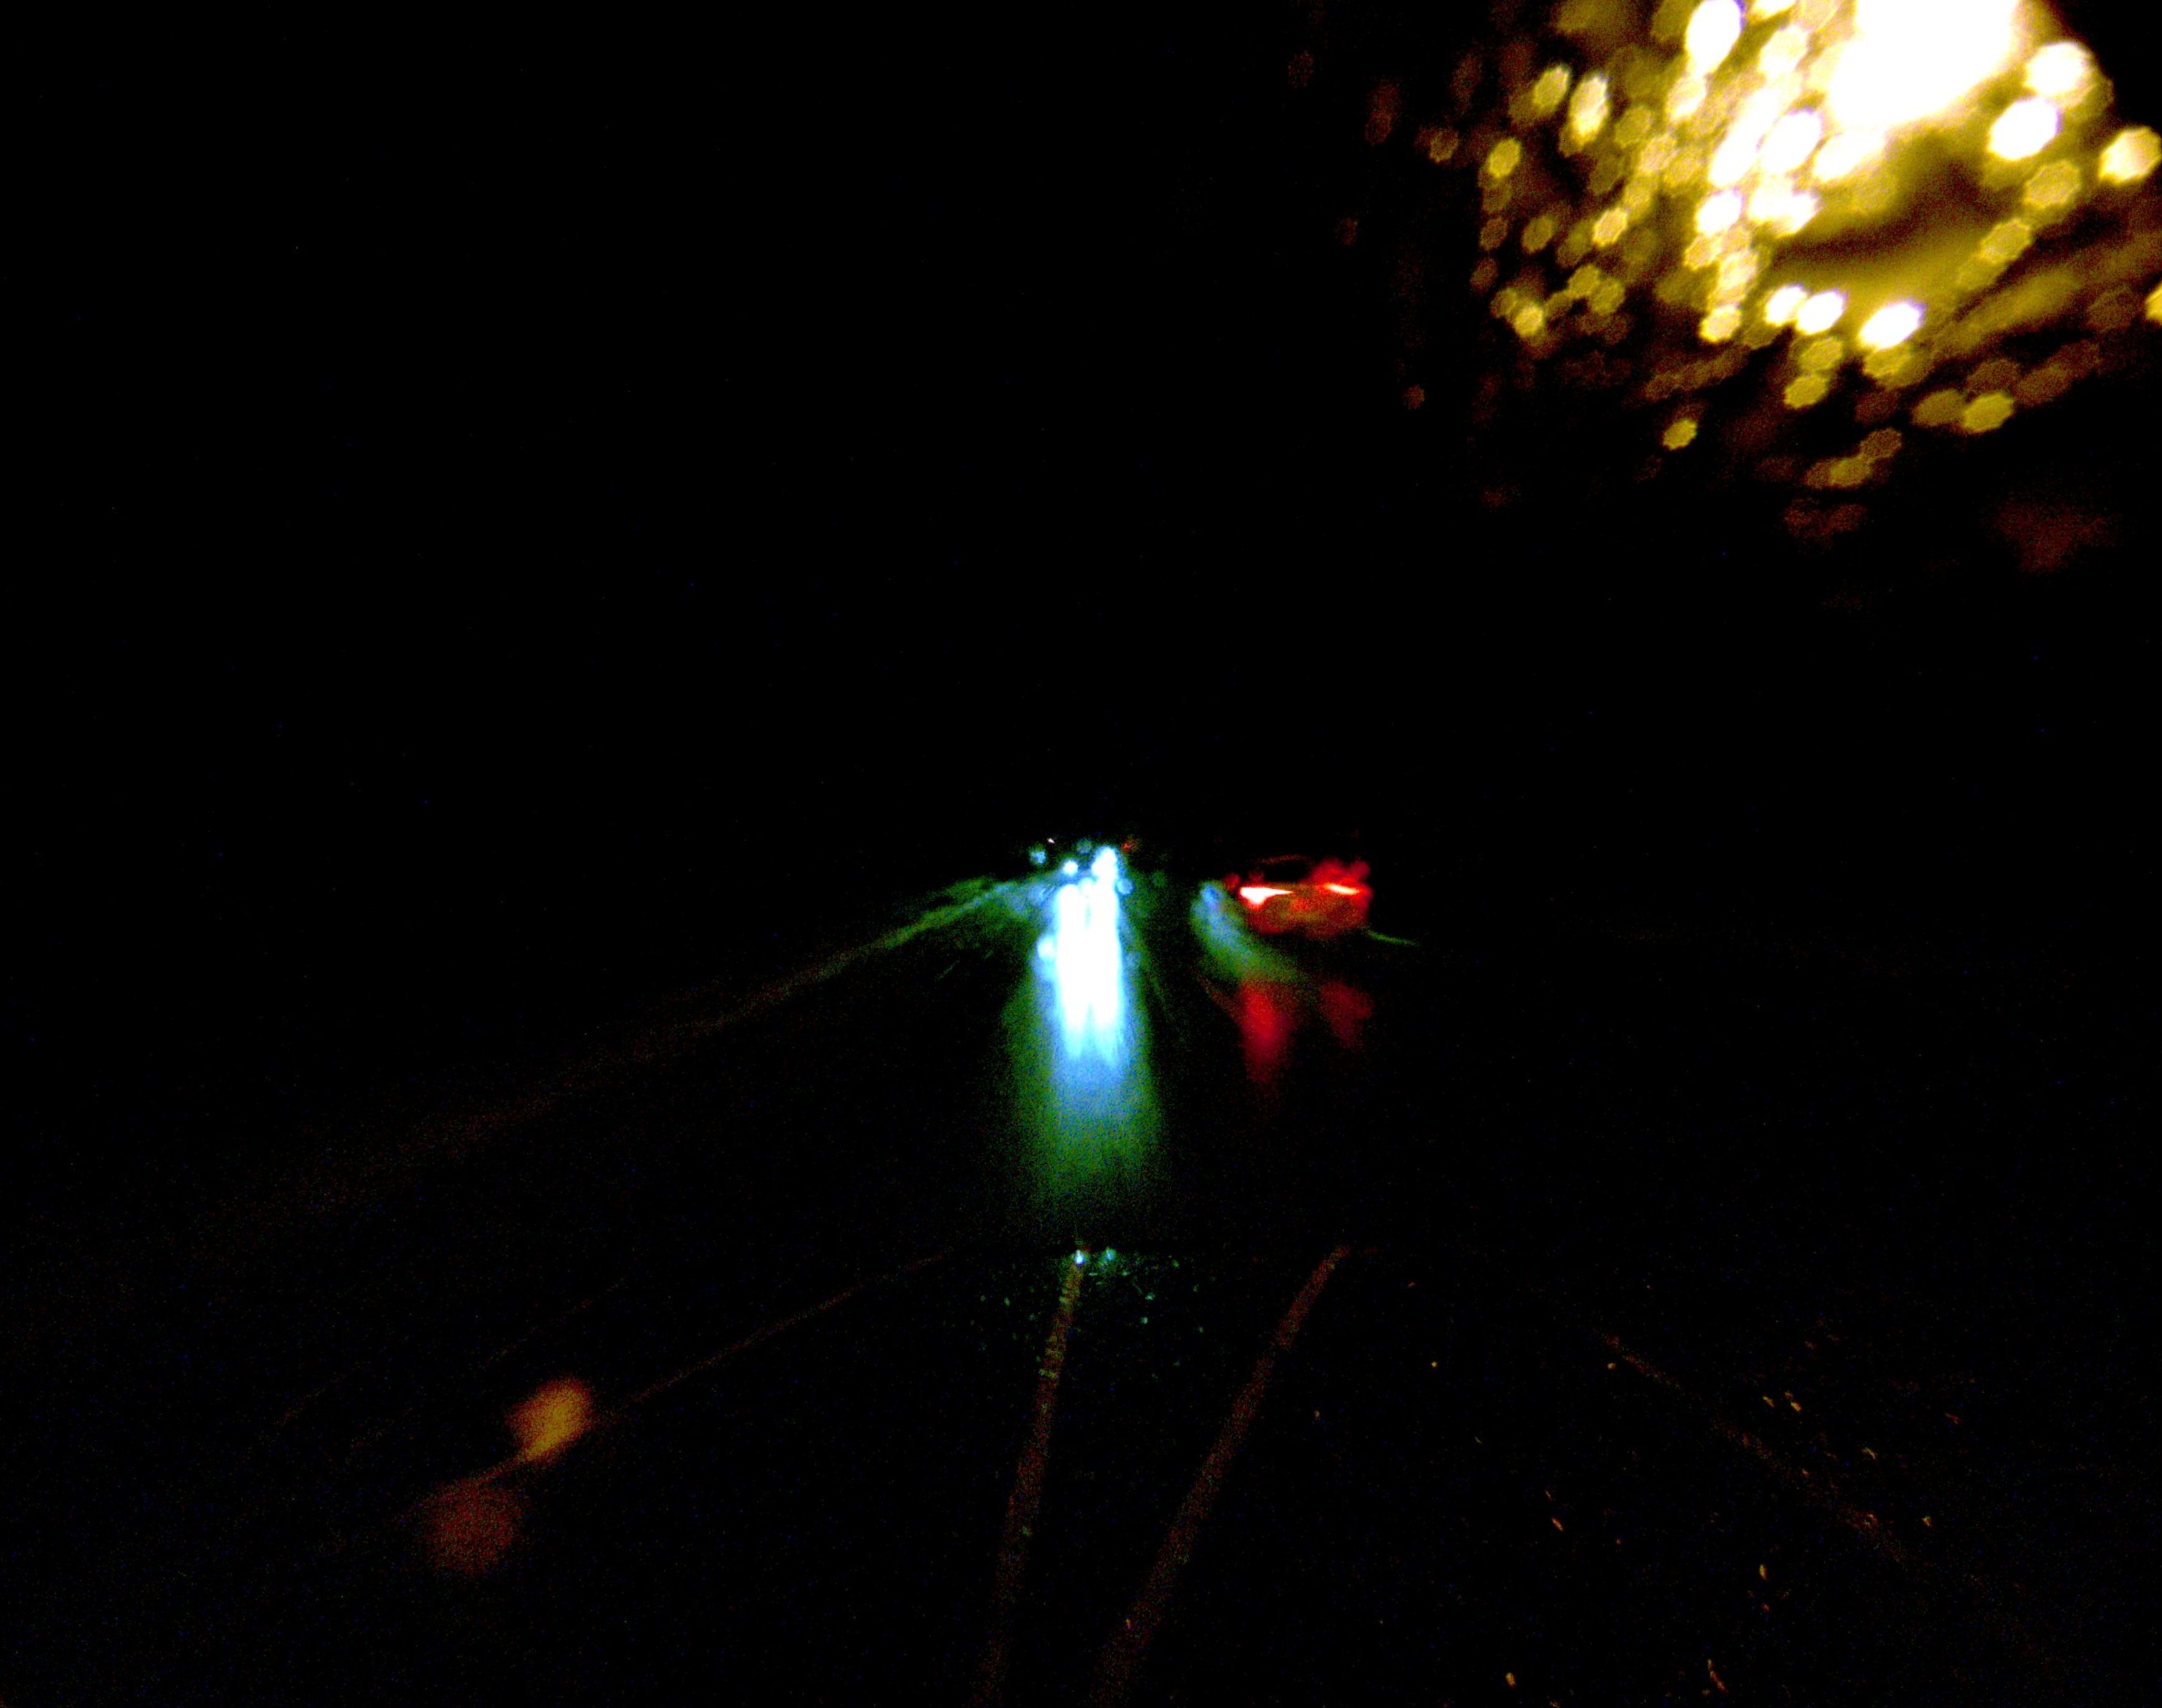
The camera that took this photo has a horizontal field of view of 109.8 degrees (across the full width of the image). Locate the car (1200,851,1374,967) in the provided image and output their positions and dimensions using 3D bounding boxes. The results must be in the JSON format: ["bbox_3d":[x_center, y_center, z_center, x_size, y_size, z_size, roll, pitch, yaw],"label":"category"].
[{"bbox_3d":[3.192,0.759,12.599,1.736,1.510,4.015,-2,1,0],"label":"car"}]

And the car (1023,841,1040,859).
[{"bbox_3d":[-6.331,-0.529,97.230,1.883,2.029,4.387,-4,2,-5],"label":"car"}]

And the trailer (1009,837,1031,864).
[{"bbox_3d":[-5.967,-0.381,75.023,1.634,2.351,4.651,-6,2,-1],"label":"trailer"}]

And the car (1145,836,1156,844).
[{"bbox_3d":[14.051,-2.811,153.746,1.998,1.452,4.897,-3,2,2],"label":"car"}]

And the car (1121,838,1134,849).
[{"bbox_3d":[7.602,-1.744,123.880,1.806,1.501,3.614,-5,1,1],"label":"car"}]

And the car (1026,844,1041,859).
[{"bbox_3d":[-6.323,-0.374,101.999,1.883,1.799,4.153,-4,2,-3],"label":"car"}]

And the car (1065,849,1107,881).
[{"bbox_3d":[0.302,0.546,40.386,1.998,1.412,3.999,-4,2,2],"label":"car"}]
